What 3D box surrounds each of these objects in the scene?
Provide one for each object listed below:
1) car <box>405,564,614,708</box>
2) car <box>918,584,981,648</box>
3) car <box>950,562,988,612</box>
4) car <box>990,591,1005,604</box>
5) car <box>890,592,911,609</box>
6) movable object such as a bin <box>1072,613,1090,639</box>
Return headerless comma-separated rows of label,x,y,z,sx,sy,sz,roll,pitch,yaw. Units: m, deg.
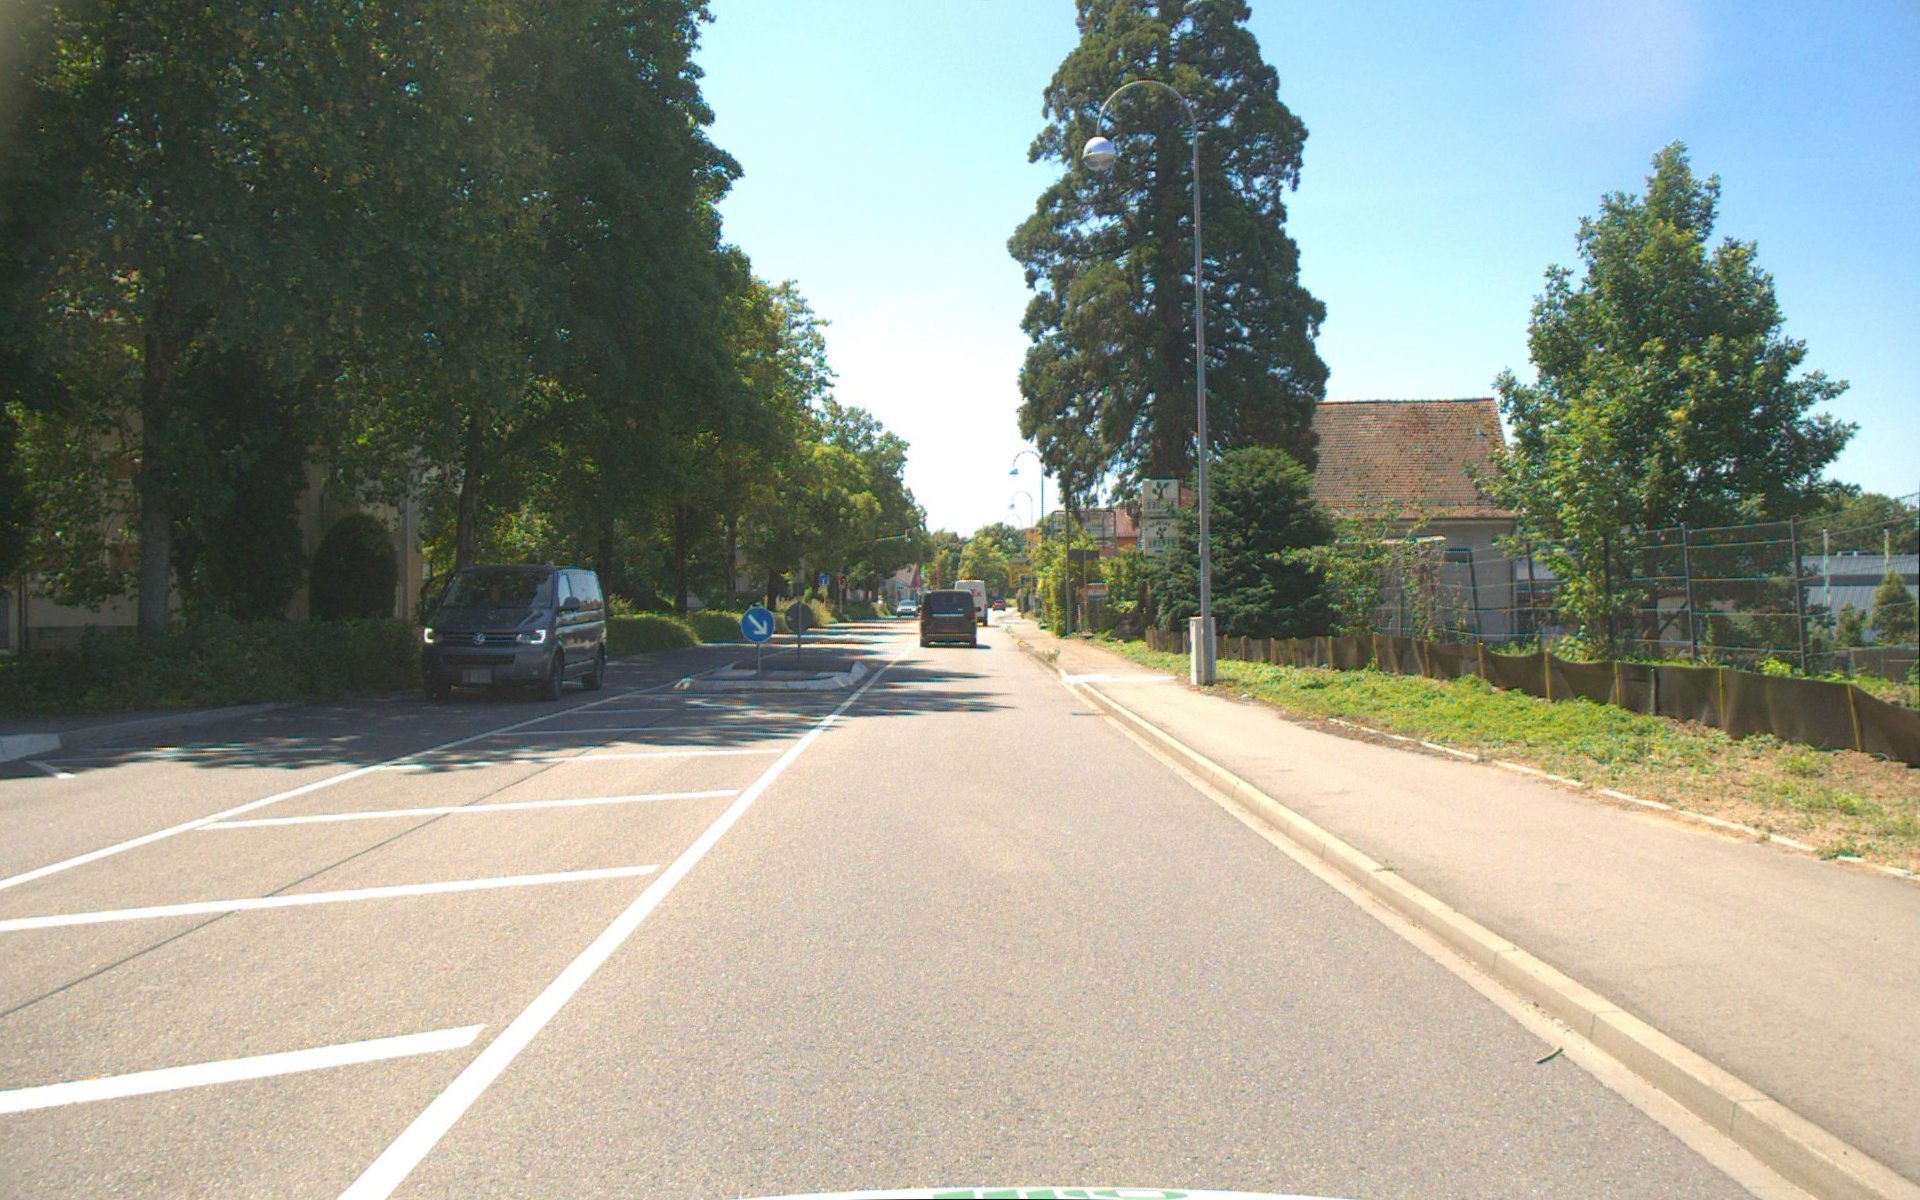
car,-6.663,0.437,25.064,1.953,1.943,4.989,1,1,-2
car,-0.376,0.492,54.605,1.953,1.926,3.999,1,1,-2
car,0.563,-0.798,96.164,2.076,2.724,5.664,1,1,2
car,5.098,-0.316,225.636,1.820,1.671,3.998,1,1,-3
car,-5.227,0.052,145.478,1.687,1.452,4.147,1,1,-1
movable object such as a bin,4.540,0.976,62.065,0.462,0.944,0.522,2,0,34
